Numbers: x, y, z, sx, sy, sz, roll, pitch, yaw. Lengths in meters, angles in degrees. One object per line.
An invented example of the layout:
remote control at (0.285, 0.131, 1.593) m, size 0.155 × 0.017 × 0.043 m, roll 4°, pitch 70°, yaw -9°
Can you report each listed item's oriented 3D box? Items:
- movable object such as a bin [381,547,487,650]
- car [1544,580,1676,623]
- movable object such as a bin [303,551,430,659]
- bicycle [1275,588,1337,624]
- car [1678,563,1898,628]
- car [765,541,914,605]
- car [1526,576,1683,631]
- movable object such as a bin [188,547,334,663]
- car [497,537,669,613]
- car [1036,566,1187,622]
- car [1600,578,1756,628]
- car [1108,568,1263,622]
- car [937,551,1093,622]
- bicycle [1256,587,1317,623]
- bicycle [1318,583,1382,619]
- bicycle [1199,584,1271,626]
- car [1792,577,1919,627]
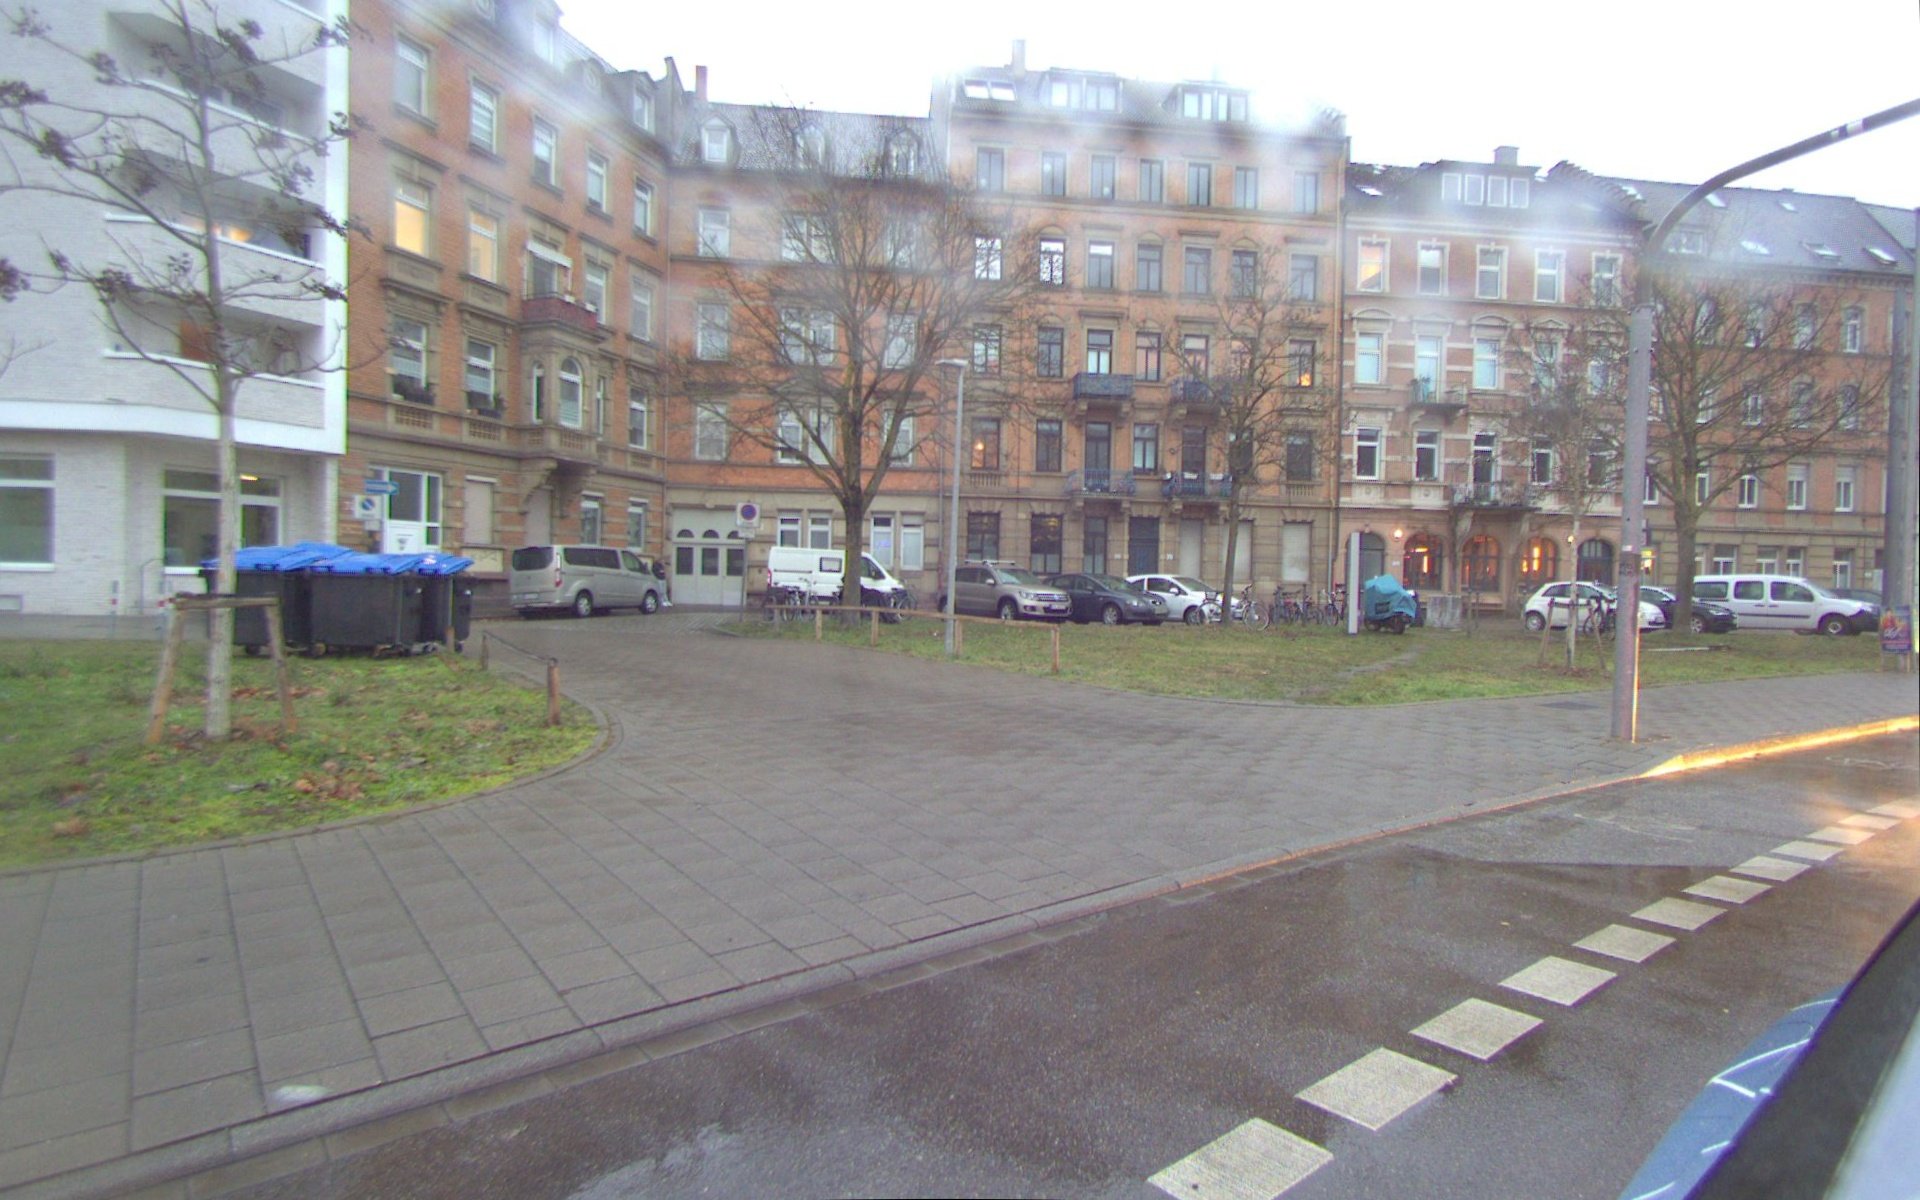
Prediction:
movable object such as a bin at (-7.962, -0.015, 15.356) m, size 1.022 × 1.509 × 1.035 m, roll 0°, pitch -1°, yaw 6°
car at (24.223, 0.064, 37.774) m, size 3.967 × 1.520 × 1.740 m, roll 1°, pitch -1°, yaw -9°
movable object such as a bin at (-8.301, 0.046, 14.204) m, size 1.200 × 1.433 × 1.018 m, roll 1°, pitch 2°, yaw -3°
bicycle at (10.028, 0.166, 29.395) m, size 0.613 × 0.978 × 2.175 m, roll 3°, pitch -1°, yaw -13°
car at (24.125, -0.197, 29.654) m, size 1.745 × 1.611 × 4.663 m, roll 0°, pitch 3°, yaw -37°
car at (-4.111, -0.934, 34.523) m, size 4.885 × 2.038 × 2.004 m, roll 1°, pitch 2°, yaw -8°
car at (18.414, 0.103, 29.023) m, size 1.583 × 1.461 × 3.467 m, roll 1°, pitch 0°, yaw -34°
movable object such as a bin at (-9.645, 0.056, 14.023) m, size 1.304 × 1.514 × 1.031 m, roll 1°, pitch 1°, yaw 0°
car at (-10.505, -0.612, 28.635) m, size 1.976 × 1.943 × 4.715 m, roll -1°, pitch -1°, yaw 21°
car at (3.920, -0.160, 26.622) m, size 1.649 × 1.372 × 3.737 m, roll 2°, pitch 0°, yaw -42°
car at (20.997, 0.061, 29.671) m, size 1.634 × 1.368 × 3.430 m, roll 1°, pitch 0°, yaw -39°
car at (6.073, -0.180, 27.556) m, size 1.669 × 1.353 × 3.852 m, roll 0°, pitch 1°, yaw -42°
car at (1.354, -0.414, 26.384) m, size 1.908 × 1.656 × 3.999 m, roll -1°, pitch 3°, yaw -37°
bicycle at (9.387, 0.140, 29.204) m, size 0.613 × 0.978 × 2.175 m, roll 3°, pitch -1°, yaw -13°
bicycle at (11.285, 0.012, 29.357) m, size 0.613 × 0.978 × 2.176 m, roll 1°, pitch 2°, yaw -13°
bicycle at (6.632, 0.106, 24.423) m, size 1.628 × 0.948 × 0.512 m, roll 2°, pitch 1°, yaw 15°
car at (27.099, 0.093, 29.481) m, size 1.737 × 1.250 × 4.066 m, roll 2°, pitch 3°, yaw -35°
